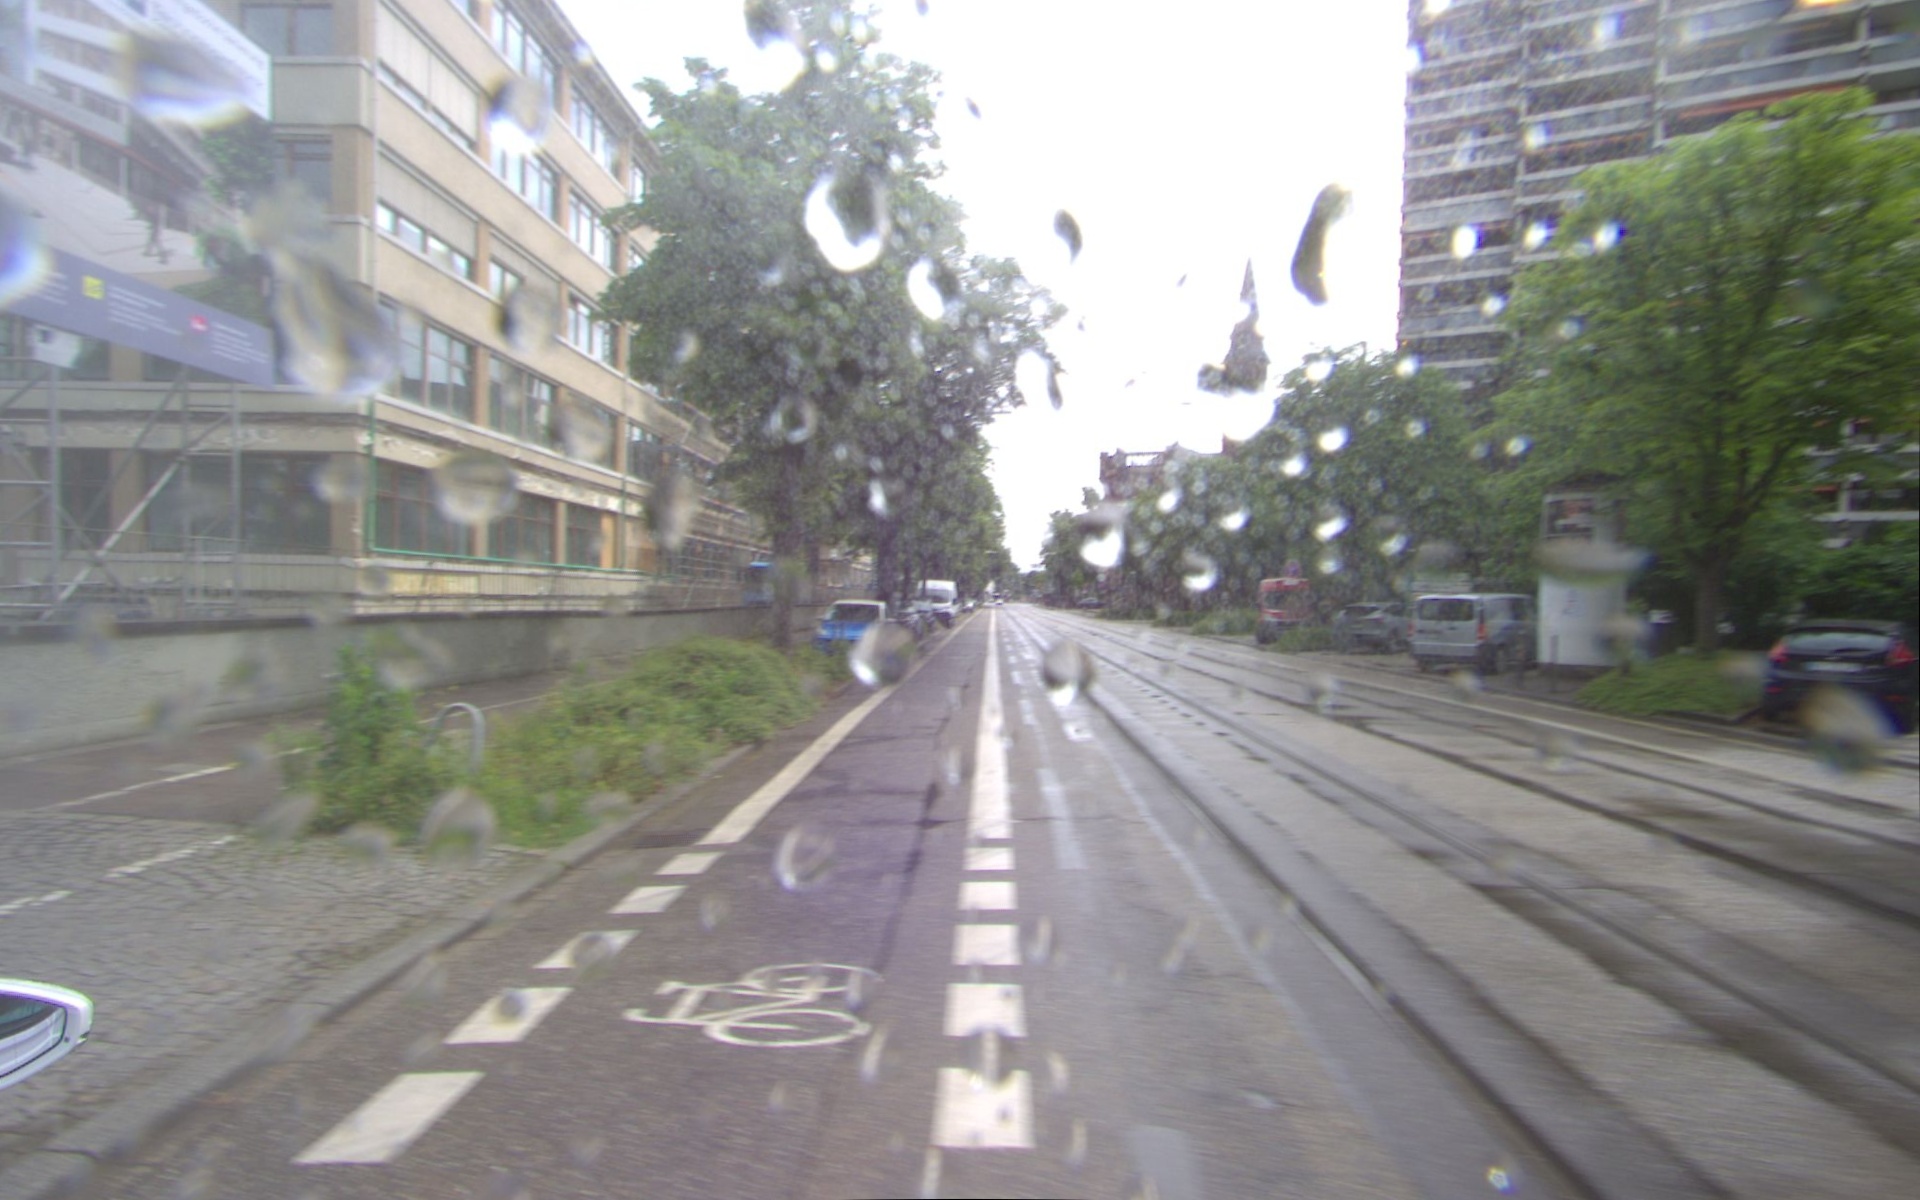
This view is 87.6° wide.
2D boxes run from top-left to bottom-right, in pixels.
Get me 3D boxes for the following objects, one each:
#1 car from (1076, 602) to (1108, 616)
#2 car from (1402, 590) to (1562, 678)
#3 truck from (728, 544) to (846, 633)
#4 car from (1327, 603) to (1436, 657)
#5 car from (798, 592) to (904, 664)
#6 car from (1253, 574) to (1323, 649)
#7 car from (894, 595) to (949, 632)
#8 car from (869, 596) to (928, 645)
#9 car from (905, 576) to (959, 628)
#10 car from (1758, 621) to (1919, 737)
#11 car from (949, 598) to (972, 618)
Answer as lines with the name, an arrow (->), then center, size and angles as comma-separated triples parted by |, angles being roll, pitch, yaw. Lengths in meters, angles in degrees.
car -> 18.064, 1.239, 137.104 | 4.214, 1.673, 2.000 | 3, -1, 7
car -> 12.953, 0.813, 24.721 | 4.597, 1.922, 1.920 | 2, 1, -42
truck -> -7.895, -0.394, 47.258 | 3.180, 3.572, 9.912 | 3, -1, 3
car -> 13.623, 0.915, 32.270 | 4.006, 1.586, 1.767 | 0, 2, -44
car -> -2.544, 0.663, 24.307 | 1.853, 1.489, 4.001 | 3, -1, 3
car -> 12.841, 0.426, 39.563 | 2.260, 2.669, 5.476 | 3, 1, 16
car -> -1.685, 0.624, 45.290 | 1.783, 1.490, 4.071 | 3, 0, 7
car -> -2.143, 0.700, 35.143 | 1.854, 1.489, 4.000 | 4, -1, -3
car -> -1.425, 0.171, 54.029 | 2.546, 2.506, 6.154 | 3, -1, 0
car -> 12.929, 1.057, 14.467 | 3.616, 1.415, 1.751 | 2, 0, -45
car -> 0.109, 0.789, 97.714 | 1.828, 1.764, 4.001 | 3, -1, 4
